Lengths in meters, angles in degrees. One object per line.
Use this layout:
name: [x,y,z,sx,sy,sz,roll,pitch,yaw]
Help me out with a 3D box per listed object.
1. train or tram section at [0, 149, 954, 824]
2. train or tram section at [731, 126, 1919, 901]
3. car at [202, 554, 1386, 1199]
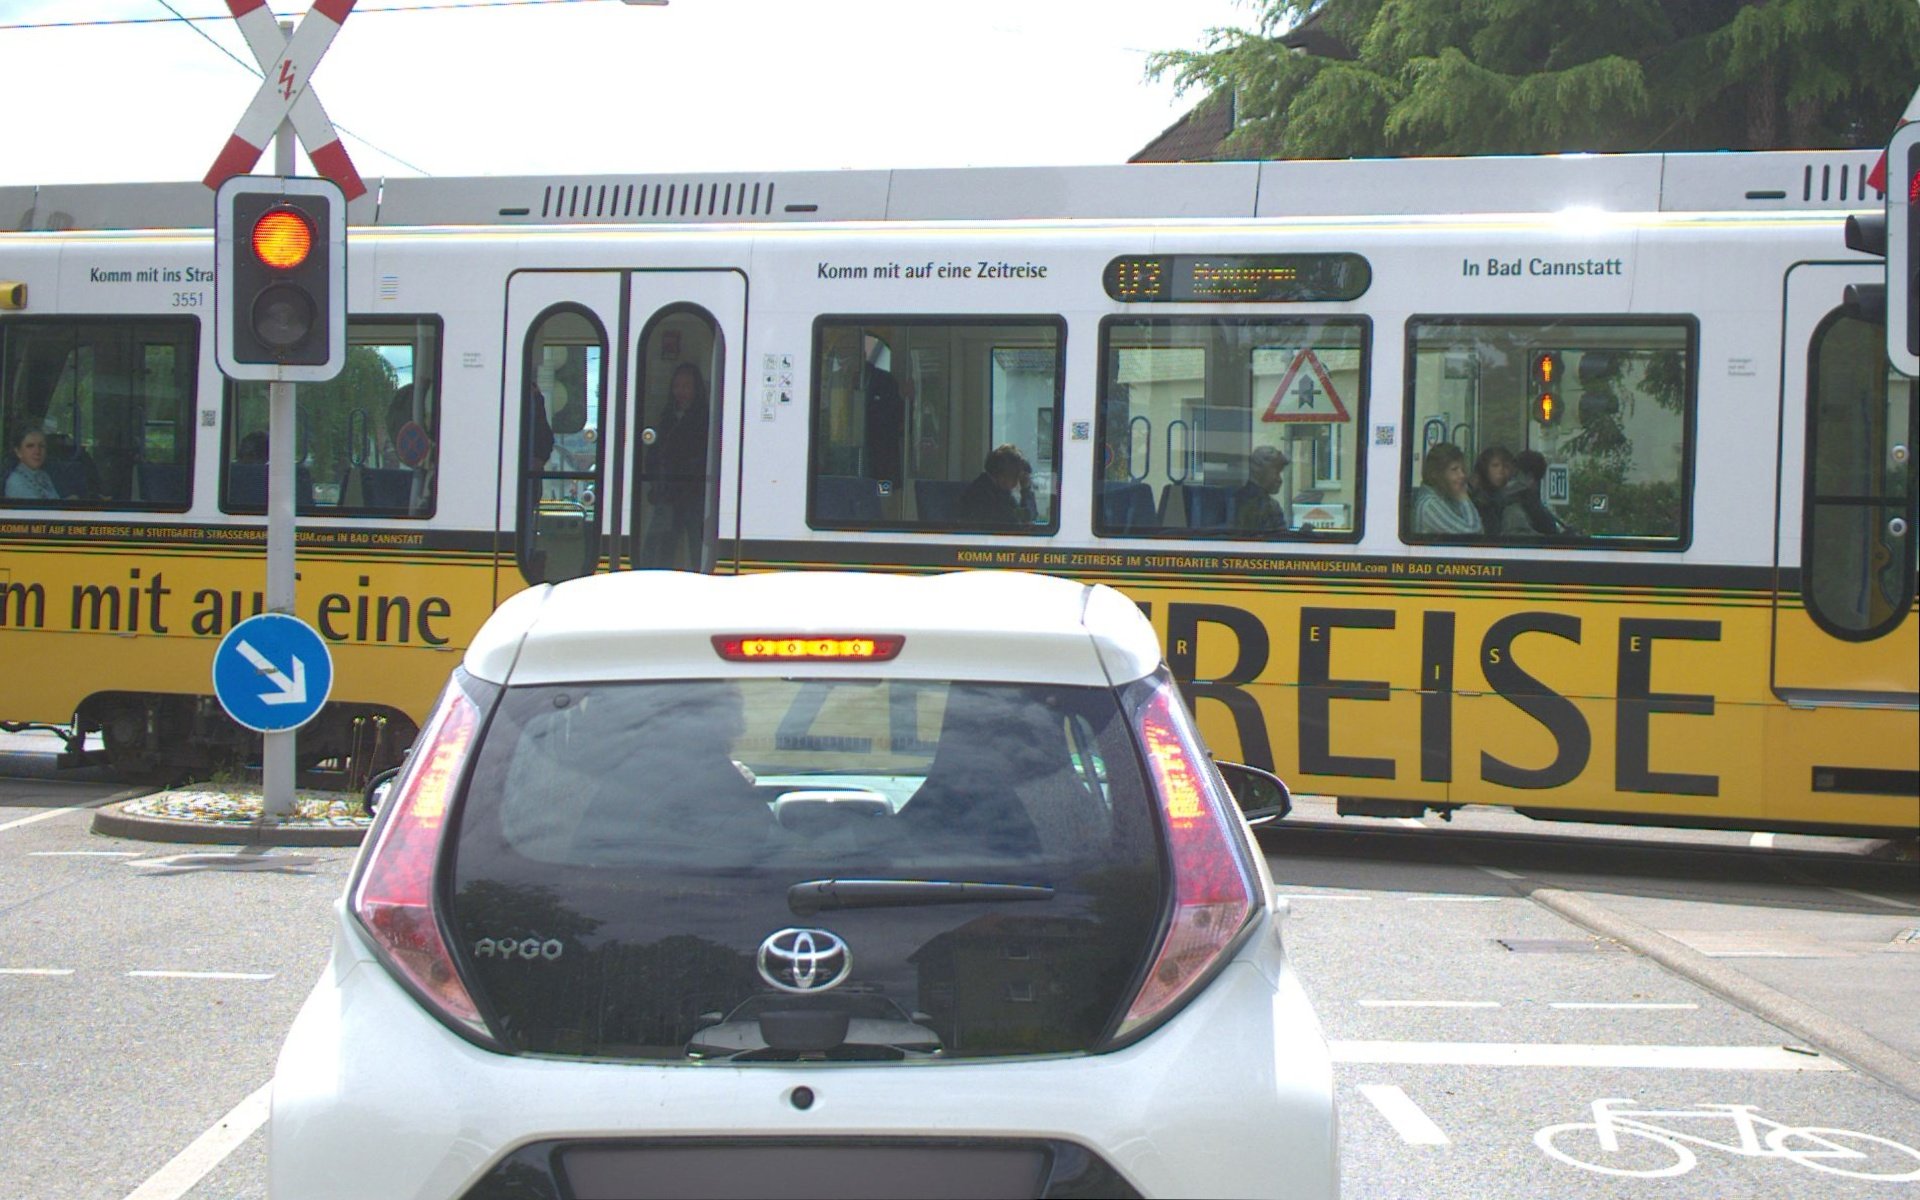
train or tram section: [-4.194,-0.771,21.666,7.700,3.709,2.866,2,1,23]
train or tram section: [2.900,-0.513,18.727,7.700,3.709,2.866,2,1,23]
car: [-0.252,0.663,6.729,1.621,1.481,4.000,0,1,-1]
